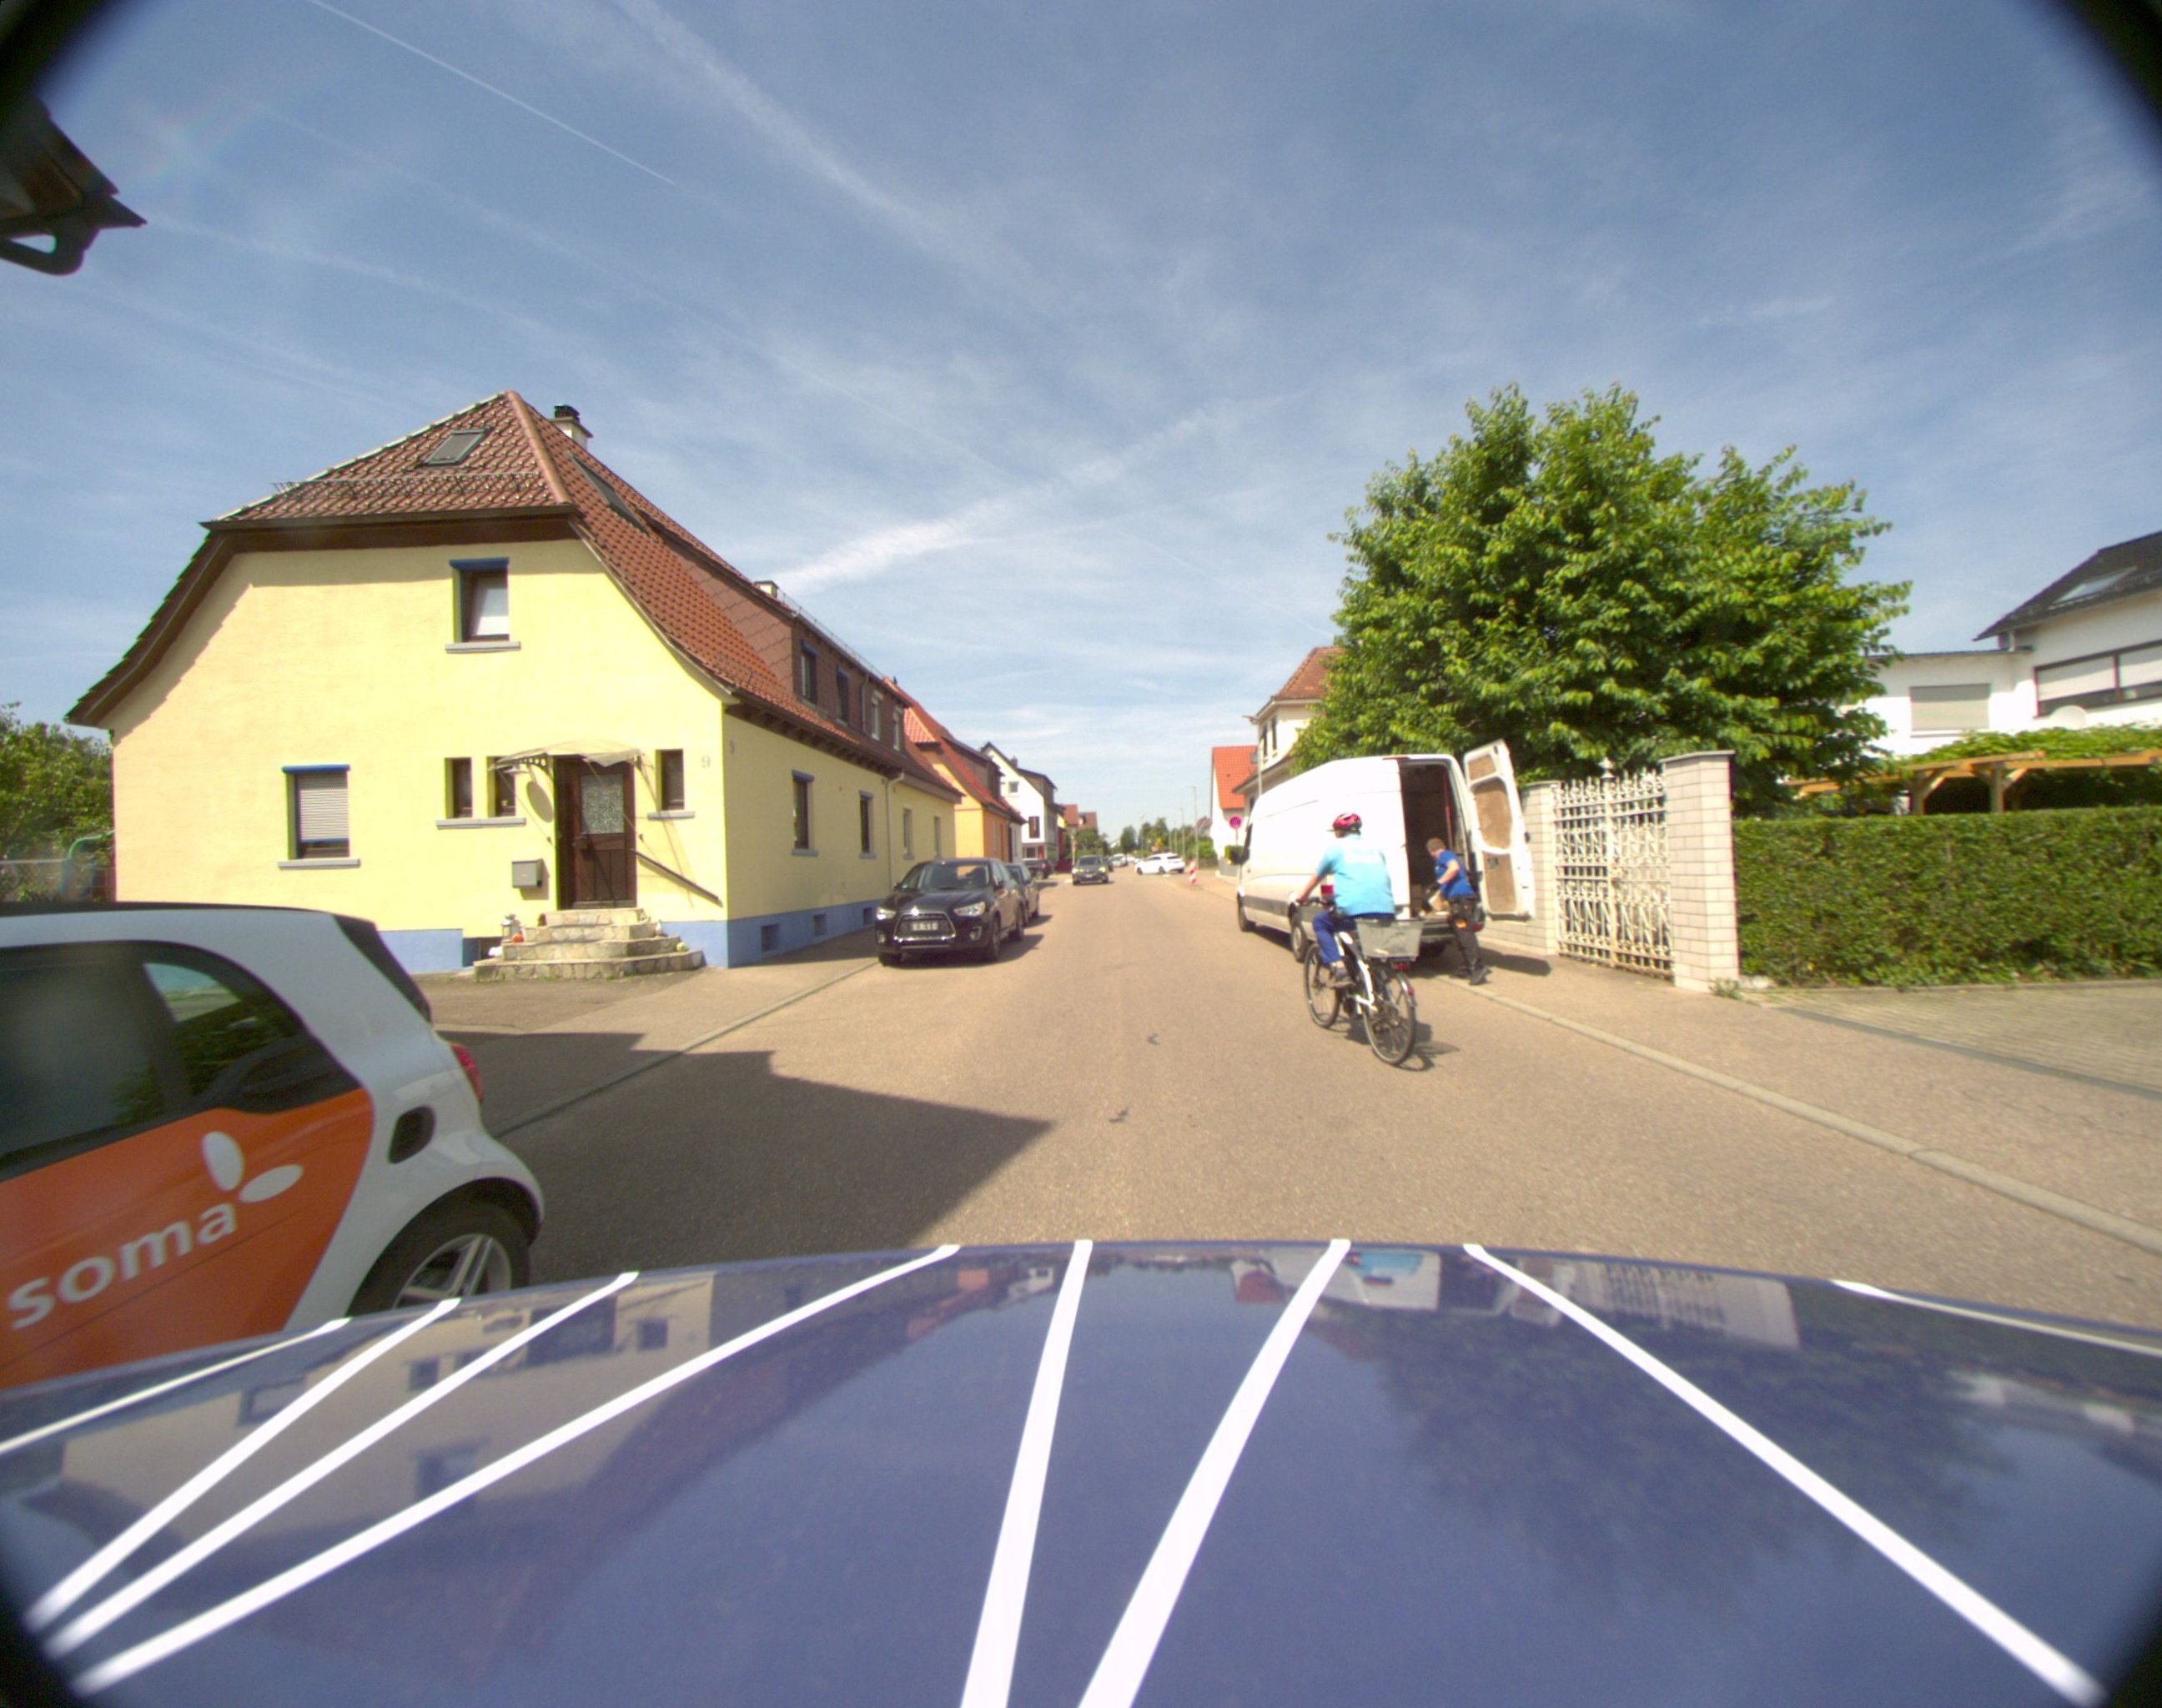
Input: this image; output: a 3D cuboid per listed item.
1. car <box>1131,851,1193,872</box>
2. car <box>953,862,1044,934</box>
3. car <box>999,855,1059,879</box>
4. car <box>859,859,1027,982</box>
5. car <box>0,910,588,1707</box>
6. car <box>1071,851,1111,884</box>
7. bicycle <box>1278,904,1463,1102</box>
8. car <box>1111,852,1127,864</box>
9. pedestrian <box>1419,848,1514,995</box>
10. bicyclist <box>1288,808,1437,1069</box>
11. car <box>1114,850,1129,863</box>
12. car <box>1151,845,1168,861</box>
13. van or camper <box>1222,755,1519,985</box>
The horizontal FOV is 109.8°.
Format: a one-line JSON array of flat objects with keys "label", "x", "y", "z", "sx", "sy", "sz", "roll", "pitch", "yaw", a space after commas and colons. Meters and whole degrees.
[{"label": "car", "x": 5.778, "y": 0.552, "z": 54.834, "sx": 1.932, "sy": 1.390, "sz": 4.483, "roll": -3, "pitch": 0, "yaw": -34}, {"label": "car", "x": -1.888, "y": 0.980, "z": 18.330, "sx": 1.614, "sy": 1.422, "sz": 3.754, "roll": -3, "pitch": 0, "yaw": 2}, {"label": "car", "x": -4.055, "y": 1.014, "z": 59.945, "sx": 4.301, "sy": 1.644, "sz": 1.849, "roll": -3, "pitch": 0, "yaw": 11}, {"label": "car", "x": -2.062, "y": 0.938, "z": 12.658, "sx": 1.732, "sy": 1.590, "sz": 4.254, "roll": -3, "pitch": 0, "yaw": 3}, {"label": "car", "x": -2.693, "y": 1.021, "z": 1.220, "sx": 1.677, "sy": 1.550, "sz": 3.040, "roll": -3, "pitch": 0, "yaw": 2}, {"label": "car", "x": 0.497, "y": 0.699, "z": 41.878, "sx": 1.838, "sy": 1.638, "sz": 4.322, "roll": -3, "pitch": 0, "yaw": -3}, {"label": "bicycle", "x": 2.159, "y": 1.035, "z": 6.009, "sx": 0.672, "sy": 1.126, "sz": 2.189, "roll": -1, "pitch": 0, "yaw": 1}, {"label": "car", "x": 4.980, "y": 0.482, "z": 99.946, "sx": 1.755, "sy": 1.412, "sz": 4.422, "roll": -3, "pitch": 0, "yaw": 6}, {"label": "pedestrian", "x": 4.236, "y": 0.709, "z": 8.386, "sx": 0.574, "sy": 1.509, "sz": 0.726, "roll": -5, "pitch": 1, "yaw": 0}, {"label": "bicyclist", "x": 2.083, "y": 0.587, "z": 5.740, "sx": 0.715, "sy": 1.788, "sz": 0.942, "roll": -3, "pitch": 1, "yaw": 1}, {"label": "car", "x": 5.711, "y": 0.291, "z": 106.528, "sx": 1.740, "sy": 1.652, "sz": 4.338, "roll": -4, "pitch": 0, "yaw": 6}, {"label": "car", "x": 10.054, "y": -0.098, "z": 97.290, "sx": 1.972, "sy": 1.940, "sz": 4.698, "roll": -3, "pitch": 0, "yaw": 6}, {"label": "van or camper", "x": 3.977, "y": 0.186, "z": 12.194, "sx": 2.190, "sy": 2.556, "sz": 6.807, "roll": -3, "pitch": 0, "yaw": 1}]
